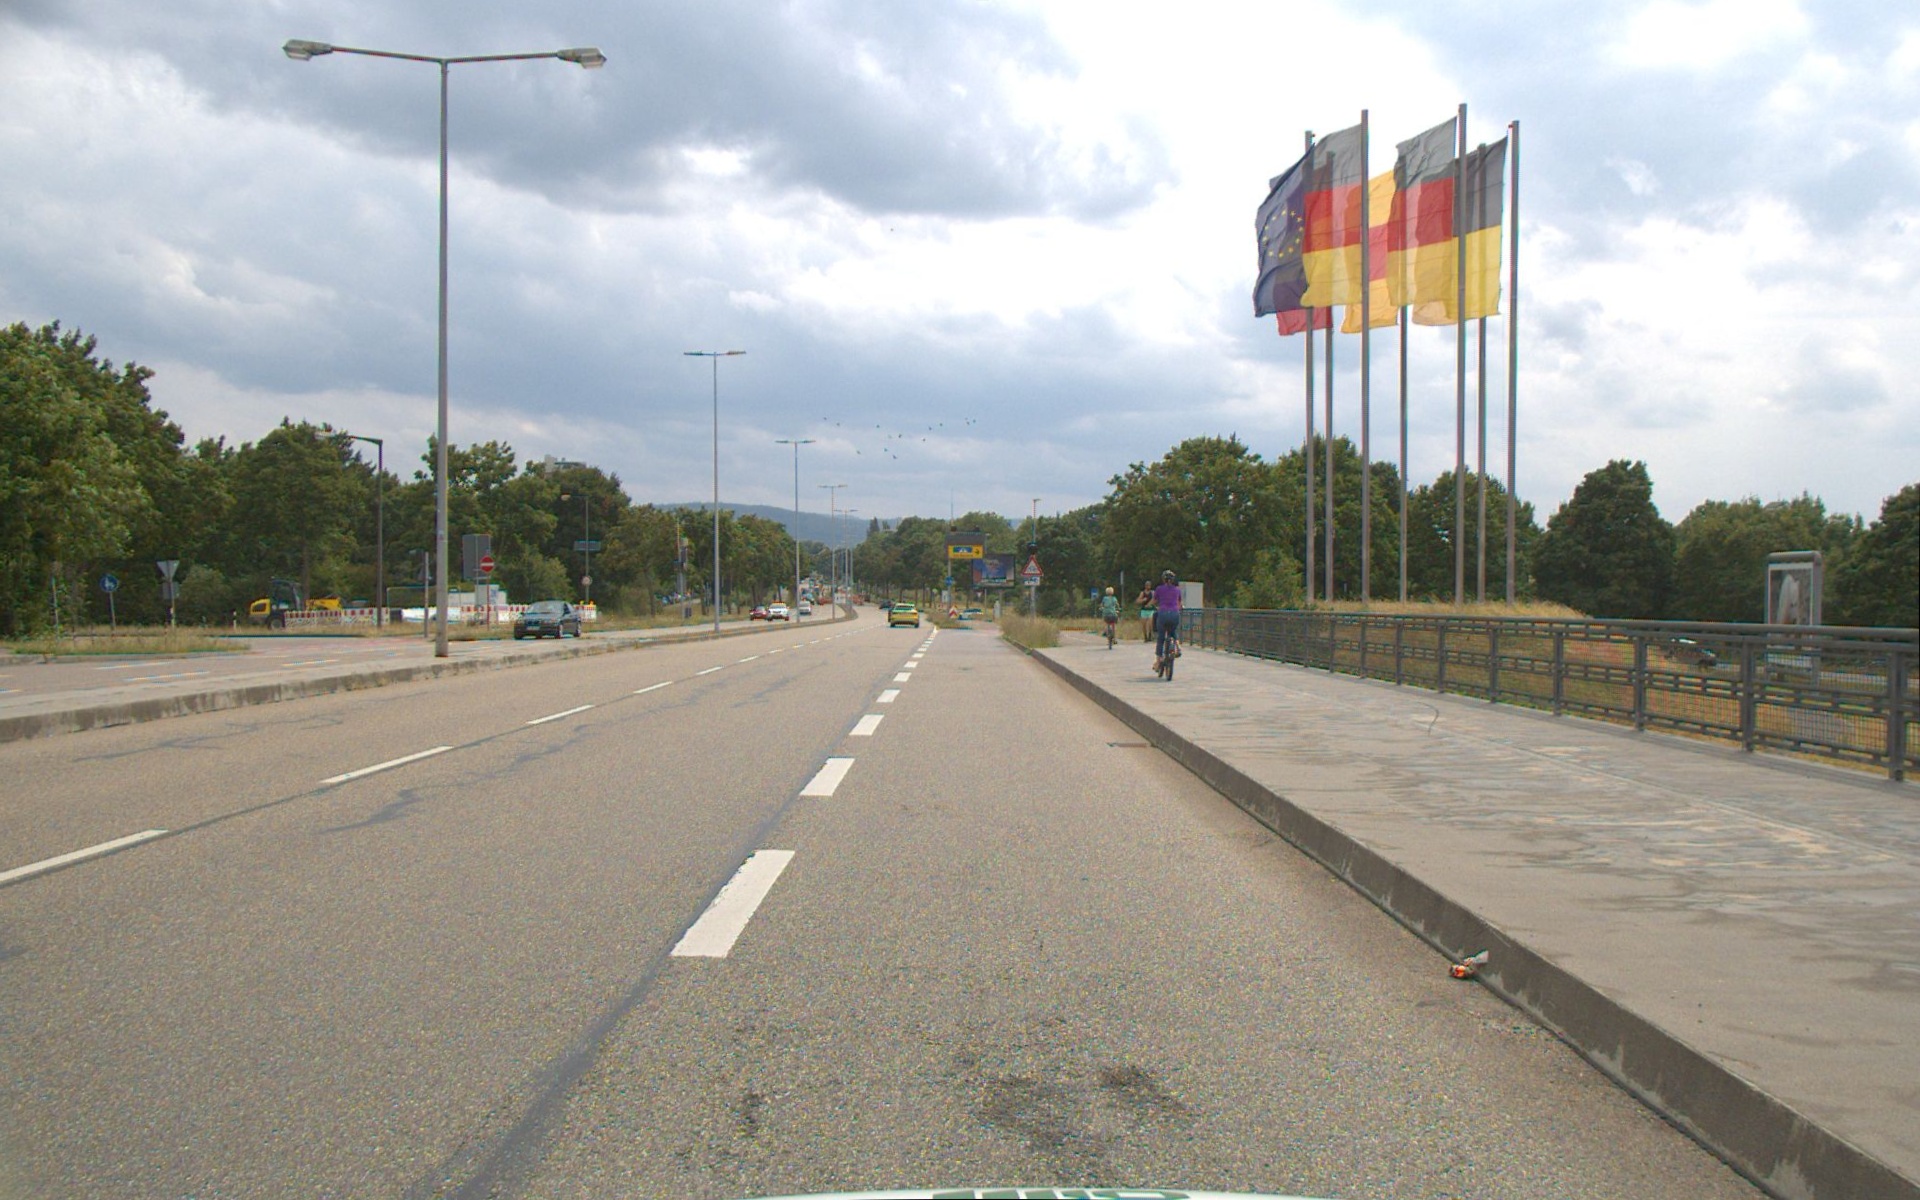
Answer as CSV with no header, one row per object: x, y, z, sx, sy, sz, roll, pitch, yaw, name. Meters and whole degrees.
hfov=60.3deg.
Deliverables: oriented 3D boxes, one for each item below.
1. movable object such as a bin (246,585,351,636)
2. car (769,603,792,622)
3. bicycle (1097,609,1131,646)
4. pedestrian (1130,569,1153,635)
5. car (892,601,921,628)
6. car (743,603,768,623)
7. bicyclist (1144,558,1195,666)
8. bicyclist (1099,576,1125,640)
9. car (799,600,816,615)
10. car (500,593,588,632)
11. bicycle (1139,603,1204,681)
-32.565,0.486,81.496,4.497,2.438,1.995,0,1,-12,movable object such as a bin
-16.452,1.119,151.708,1.660,1.657,4.384,1,1,-1,car
4.130,0.719,44.431,0.611,0.904,2.153,1,1,-3,bicycle
5.661,0.048,51.588,0.614,2.049,0.668,1,1,-1,pedestrian
-3.359,0.883,103.207,1.758,1.589,3.998,1,1,-3,car
-21.087,1.375,170.677,1.953,1.914,3.999,5,-1,-1,car
3.504,0.192,27.676,0.689,1.786,0.991,0,0,-2,bicyclist
4.117,0.213,44.911,0.609,1.695,0.669,1,1,-3,bicyclist
-19.515,0.945,211.820,1.864,1.841,4.538,1,1,-2,car
-15.637,0.456,62.398,1.952,1.397,4.578,-1,0,3,car
3.530,0.673,27.736,0.679,1.213,2.460,0,1,-2,bicycle
